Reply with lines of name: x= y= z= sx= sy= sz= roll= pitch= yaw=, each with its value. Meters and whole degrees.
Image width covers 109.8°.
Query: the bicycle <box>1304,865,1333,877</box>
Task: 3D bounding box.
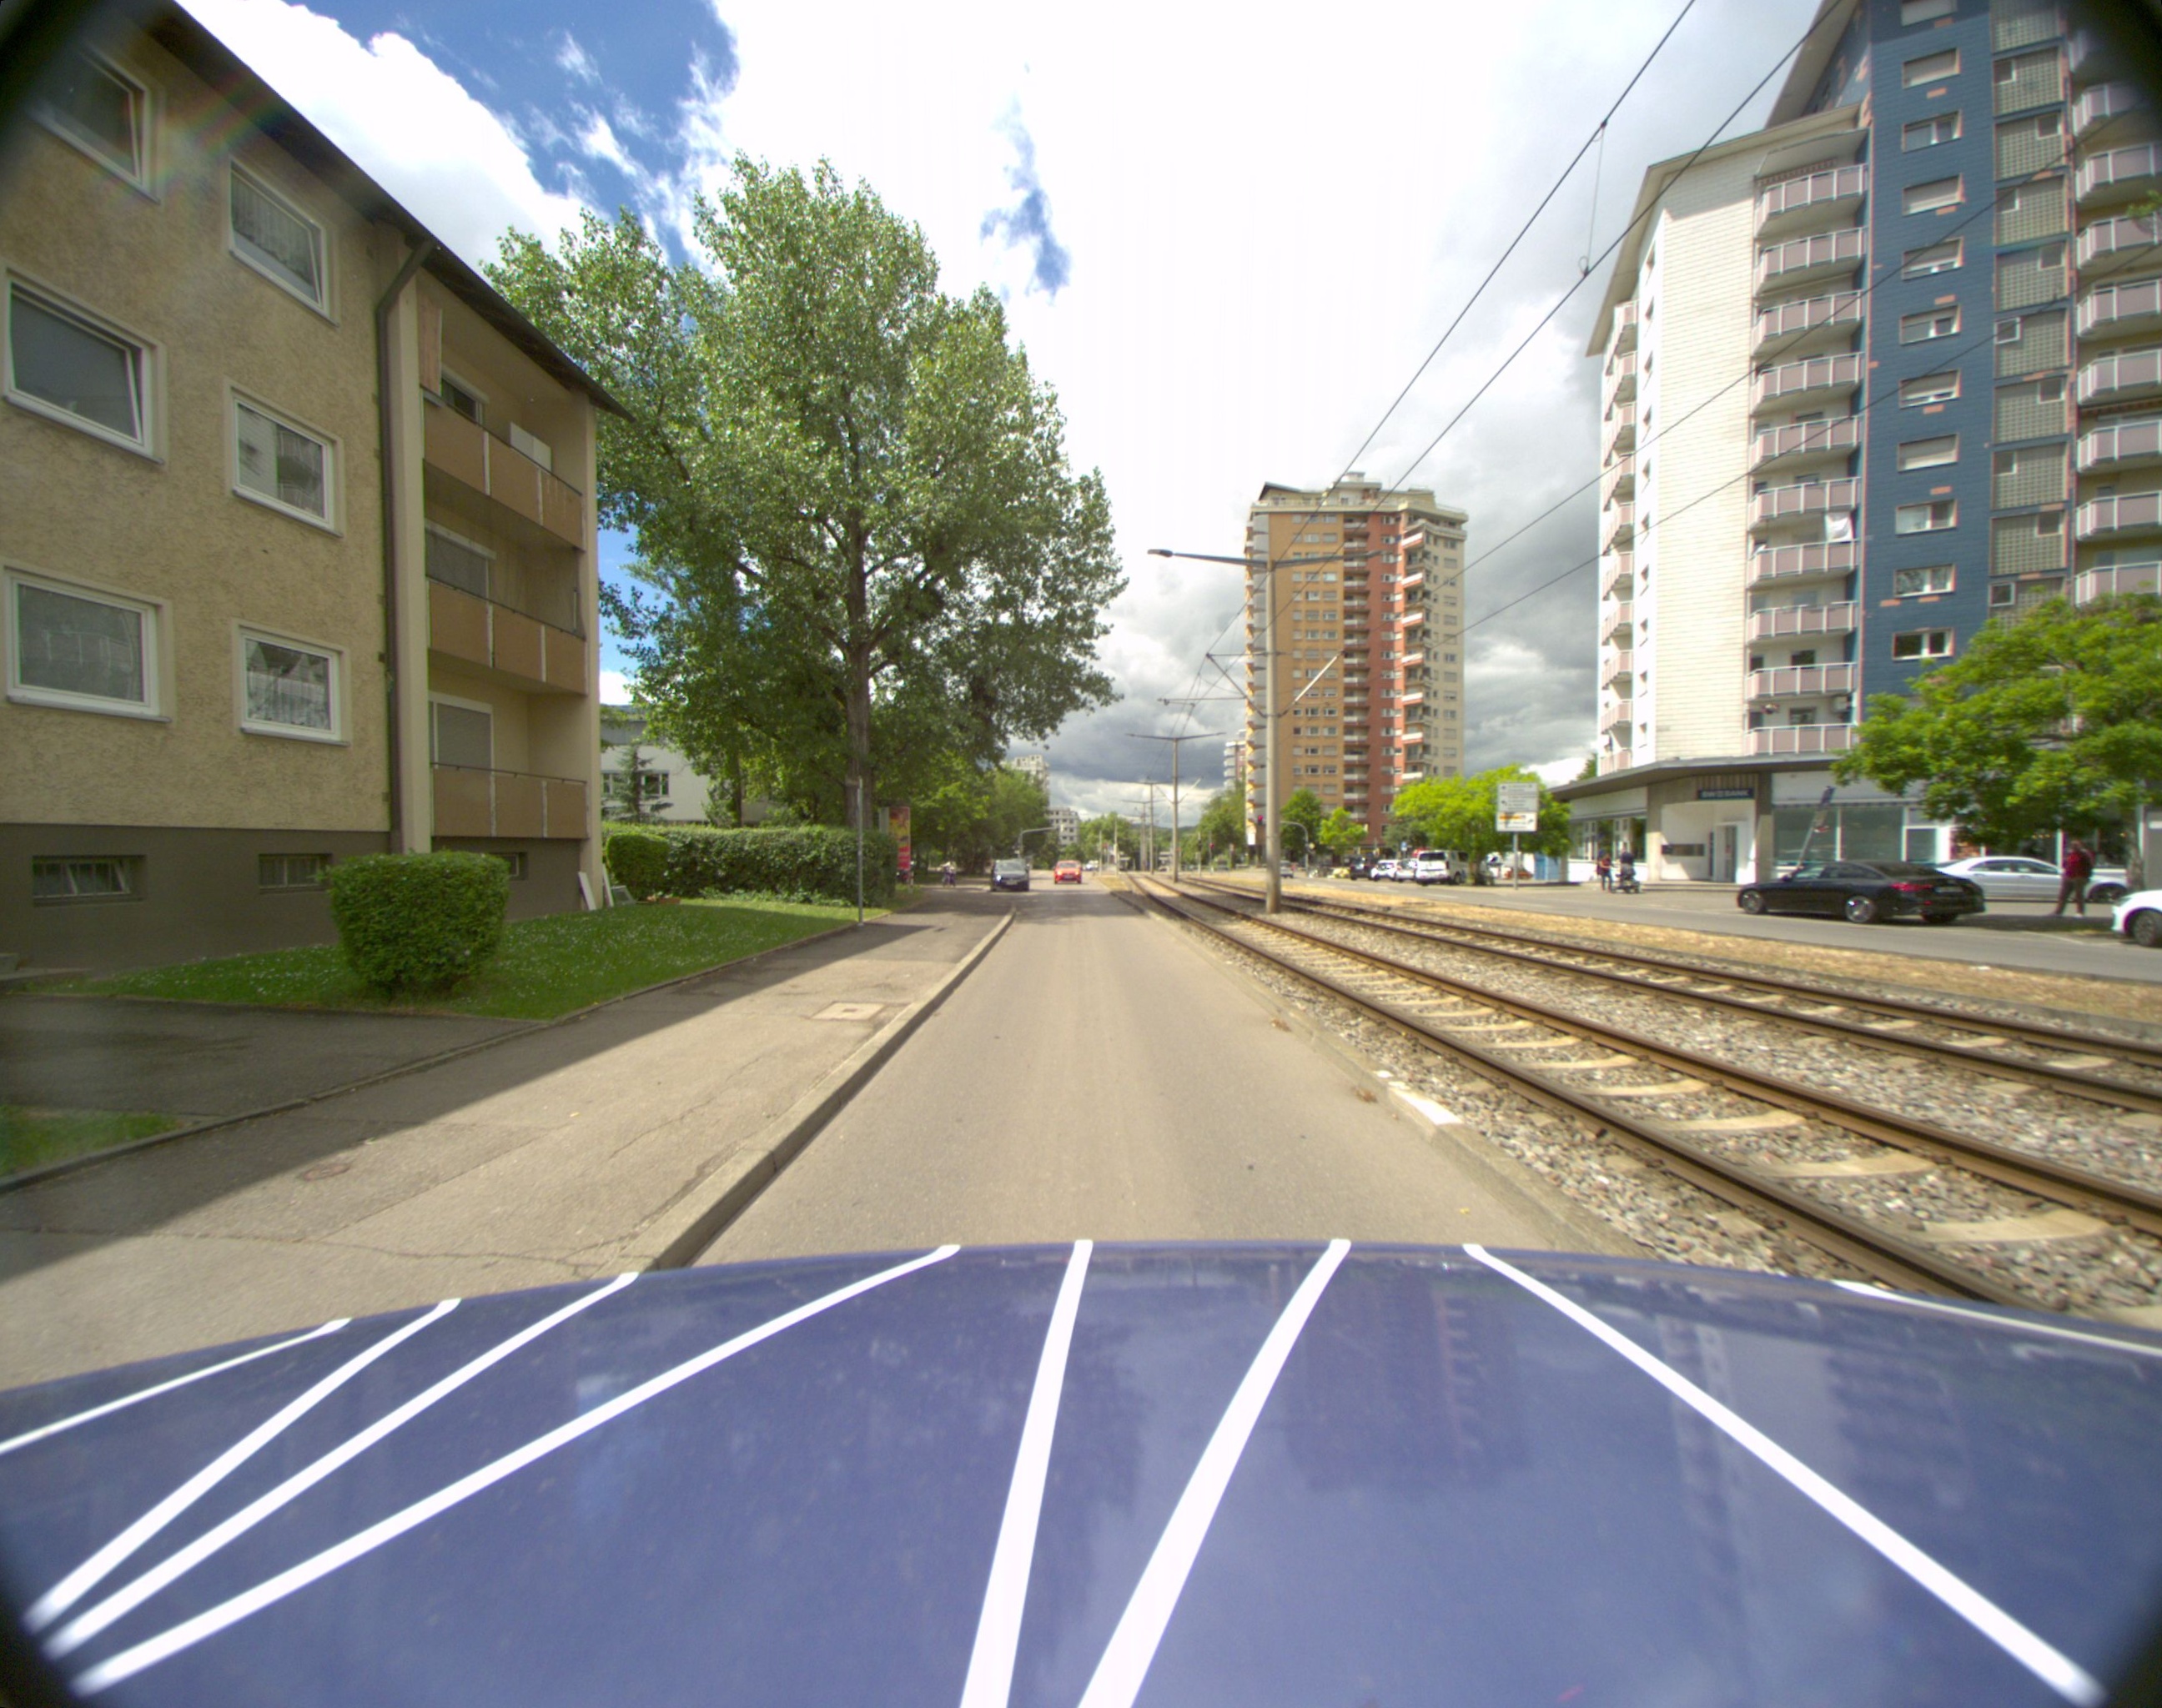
bicycle: x=21.390 y=1.546 z=68.445 sx=2.433 sy=1.059 sz=0.705 roll=1 pitch=0 yaw=2

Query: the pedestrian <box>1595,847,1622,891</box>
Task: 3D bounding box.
pedestrian: x=20.742 y=0.586 z=29.866 sx=0.514 sy=1.564 sz=0.985 roll=-4 pitch=8 yaw=11

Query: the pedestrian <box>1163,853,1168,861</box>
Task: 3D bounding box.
pedestrian: x=16.232 y=0.606 z=146.249 sx=0.865 sy=1.596 sz=0.747 roll=1 pitch=0 yaw=2

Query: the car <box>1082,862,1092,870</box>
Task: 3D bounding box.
car: x=1.072 y=2.117 z=133.422 sx=1.780 sy=1.319 sz=3.726 roll=1 pitch=-1 yaw=0

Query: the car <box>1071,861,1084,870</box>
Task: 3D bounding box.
car: x=-0.486 y=1.683 z=108.431 sx=1.605 sy=1.207 sz=3.773 roll=1 pitch=-1 yaw=4

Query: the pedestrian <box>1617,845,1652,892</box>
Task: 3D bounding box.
pedestrian: x=21.700 y=0.568 z=29.791 sx=0.842 sy=1.782 sz=0.875 roll=1 pitch=0 yaw=16

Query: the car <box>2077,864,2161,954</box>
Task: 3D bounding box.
car: x=18.303 y=0.894 z=11.194 sx=1.757 sy=1.466 sz=4.403 roll=1 pitch=-1 yaw=6

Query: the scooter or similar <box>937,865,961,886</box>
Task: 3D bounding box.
scooter or similar: x=-6.754 y=1.112 z=39.077 sx=0.892 sy=1.058 sz=2.114 roll=1 pitch=-1 yaw=-2

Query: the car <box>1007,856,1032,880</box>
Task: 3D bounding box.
car: x=-4.802 y=1.090 z=59.589 sx=1.648 sy=1.752 sz=4.569 roll=1 pitch=-1 yaw=-2

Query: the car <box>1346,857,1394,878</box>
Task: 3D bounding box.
car: x=22.010 y=1.031 z=57.806 sx=1.927 sy=1.582 sz=4.009 roll=0 pitch=-1 yaw=44

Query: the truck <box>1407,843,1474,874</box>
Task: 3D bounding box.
truck: x=44.811 y=0.587 z=94.894 sx=7.090 sy=3.652 sz=2.549 roll=1 pitch=0 yaw=8

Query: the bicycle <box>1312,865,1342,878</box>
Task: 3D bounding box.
bicycle: x=21.394 y=1.513 z=66.108 sx=2.433 sy=1.059 sz=0.705 roll=1 pitch=0 yaw=2

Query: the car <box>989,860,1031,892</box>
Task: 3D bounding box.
car: x=-3.316 y=1.024 z=36.240 sx=1.820 sy=1.440 sz=3.826 roll=1 pitch=-1 yaw=-3

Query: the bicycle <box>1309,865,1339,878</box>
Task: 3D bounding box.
bicycle: x=21.395 y=1.524 z=66.885 sx=2.433 sy=1.059 sz=0.705 roll=1 pitch=0 yaw=2

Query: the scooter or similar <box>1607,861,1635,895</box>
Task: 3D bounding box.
scooter or similar: x=20.629 y=0.915 z=29.051 sx=0.580 sy=1.119 sz=0.769 roll=-6 pitch=7 yaw=12

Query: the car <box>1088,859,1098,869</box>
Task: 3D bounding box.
car: x=2.484 y=2.139 z=161.982 sx=1.999 sy=2.135 sz=4.000 roll=1 pitch=-1 yaw=-1

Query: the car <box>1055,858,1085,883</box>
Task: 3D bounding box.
car: x=-0.710 y=1.030 z=48.702 sx=1.819 sy=1.483 sz=3.999 roll=0 pitch=0 yaw=-1

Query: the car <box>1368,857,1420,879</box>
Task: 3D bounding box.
car: x=21.845 y=0.990 z=53.007 sx=3.774 sy=1.487 sz=1.742 roll=1 pitch=-1 yaw=-39

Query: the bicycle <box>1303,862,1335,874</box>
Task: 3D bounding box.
bicycle: x=20.320 y=1.189 z=64.880 sx=2.433 sy=1.028 sz=0.717 roll=-1 pitch=0 yaw=2

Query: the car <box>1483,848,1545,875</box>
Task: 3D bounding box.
car: x=53.126 y=0.915 z=93.422 sx=6.294 sy=3.279 sz=2.002 roll=1 pitch=0 yaw=10

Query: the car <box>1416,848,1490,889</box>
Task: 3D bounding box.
car: x=20.694 y=0.800 z=42.169 sx=4.772 sy=2.144 sz=1.901 roll=2 pitch=-1 yaw=-40

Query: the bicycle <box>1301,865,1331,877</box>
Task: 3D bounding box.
bicycle: x=21.411 y=1.557 z=69.244 sx=2.433 sy=1.059 sz=0.705 roll=1 pitch=0 yaw=2

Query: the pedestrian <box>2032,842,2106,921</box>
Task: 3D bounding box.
pedestrian: x=22.904 y=0.634 z=17.633 sx=0.612 sy=1.782 sz=0.843 roll=1 pitch=0 yaw=0

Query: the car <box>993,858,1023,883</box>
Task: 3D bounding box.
car: x=-4.792 y=1.100 z=50.340 sx=1.789 sy=1.556 sz=4.568 roll=1 pitch=-1 yaw=-4

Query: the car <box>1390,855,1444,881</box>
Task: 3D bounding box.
car: x=22.344 y=0.952 z=50.474 sx=4.009 sy=1.622 sz=1.901 roll=2 pitch=-1 yaw=-45

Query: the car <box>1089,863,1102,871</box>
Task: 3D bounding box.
car: x=2.189 y=1.957 z=115.054 sx=1.805 sy=1.207 sz=4.023 roll=1 pitch=-1 yaw=3

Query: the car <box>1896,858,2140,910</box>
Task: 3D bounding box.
car: x=28.372 y=0.861 z=23.289 sx=4.343 sy=1.434 sz=2.005 roll=0 pitch=-1 yaw=37

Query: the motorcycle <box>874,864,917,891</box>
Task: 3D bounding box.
motorcycle: x=-8.517 y=1.087 z=34.931 sx=1.803 sy=1.203 sz=0.711 roll=1 pitch=0 yaw=-22

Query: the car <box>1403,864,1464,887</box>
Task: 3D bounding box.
car: x=21.772 y=1.326 z=46.874 sx=4.009 sy=1.375 sz=1.901 roll=2 pitch=-1 yaw=-40

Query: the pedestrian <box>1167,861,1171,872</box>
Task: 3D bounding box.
pedestrian: x=16.314 y=2.299 z=140.590 sx=0.771 sy=1.920 sz=0.573 roll=1 pitch=0 yaw=1

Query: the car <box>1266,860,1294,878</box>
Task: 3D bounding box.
car: x=17.726 y=1.330 z=67.772 sx=1.822 sy=1.523 sz=3.756 roll=1 pitch=-1 yaw=5

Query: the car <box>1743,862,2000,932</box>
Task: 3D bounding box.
car: x=18.436 y=0.922 z=18.085 sx=1.738 sy=1.420 sz=4.382 roll=0 pitch=0 yaw=3

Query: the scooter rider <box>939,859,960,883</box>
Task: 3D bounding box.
scooter rider: x=-6.750 y=0.892 z=39.110 sx=0.887 sy=1.213 sz=1.282 roll=1 pitch=-1 yaw=-2
